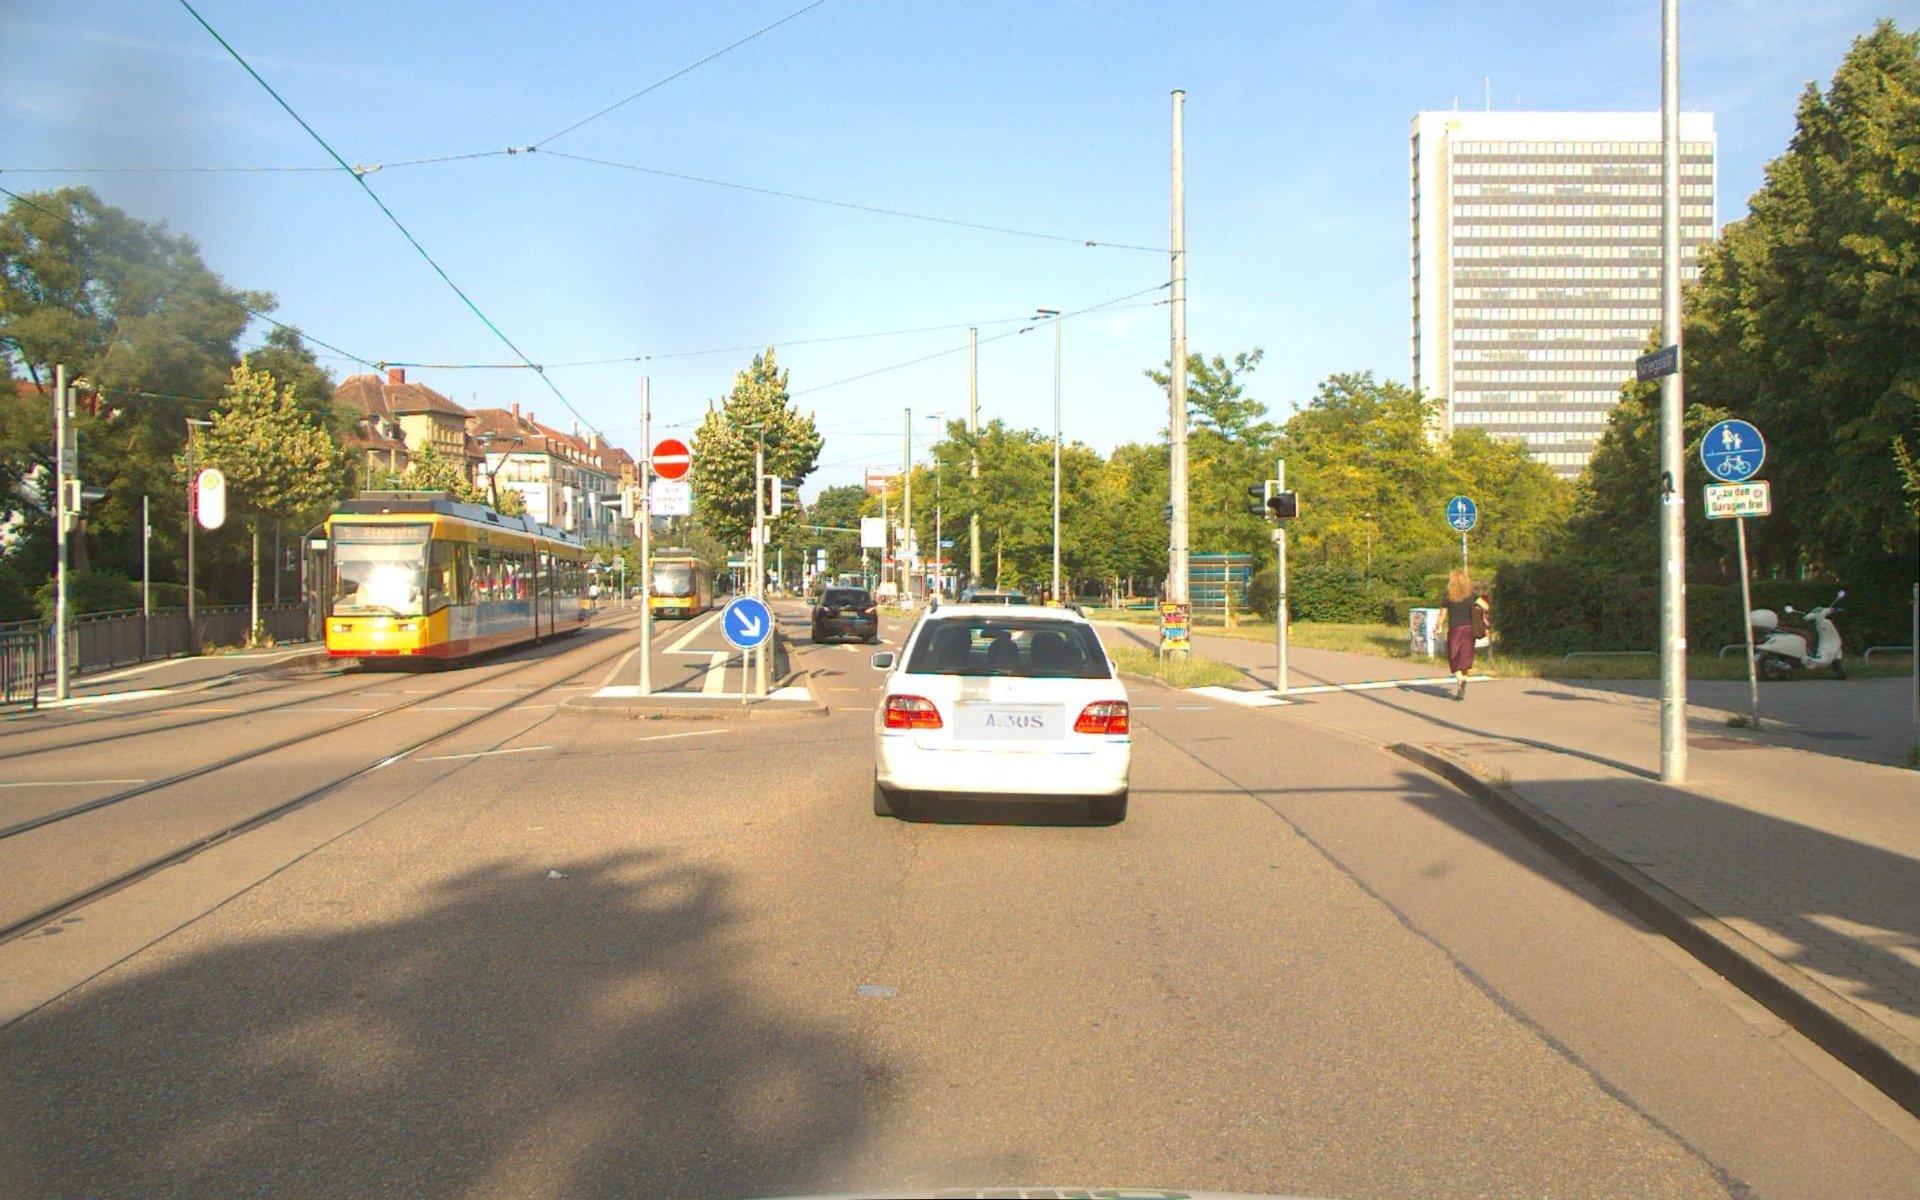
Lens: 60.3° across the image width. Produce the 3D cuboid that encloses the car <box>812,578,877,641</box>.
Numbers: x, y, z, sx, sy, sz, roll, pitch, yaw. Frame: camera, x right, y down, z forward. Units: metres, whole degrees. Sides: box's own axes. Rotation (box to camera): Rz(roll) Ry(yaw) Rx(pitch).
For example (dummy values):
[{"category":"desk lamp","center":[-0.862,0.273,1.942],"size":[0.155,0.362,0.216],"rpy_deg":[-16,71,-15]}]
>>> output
[{"category":"car","center":[-3.289,0.246,47.634],"size":[1.751,1.719,3.998],"rpy_deg":[1,1,-3]}]

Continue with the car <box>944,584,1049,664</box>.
[{"category":"car","center":[0.737,0.475,36.154],"size":[1.992,1.633,3.998],"rpy_deg":[1,1,-3]}]

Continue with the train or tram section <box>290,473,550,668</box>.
[{"category":"train or tram section","center":[-11.684,-0.631,37.573],"size":[3.102,3.540,14.506],"rpy_deg":[1,1,-8]}]

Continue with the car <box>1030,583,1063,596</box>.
[{"category":"car","center":[11.402,-1.332,217.578],"size":[3.952,1.680,1.976],"rpy_deg":[-1,0,-34]}]

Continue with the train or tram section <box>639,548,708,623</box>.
[{"category":"train or tram section","center":[-14.680,-0.783,85.531],"size":[2.795,3.540,13.180],"rpy_deg":[1,1,-7]}]

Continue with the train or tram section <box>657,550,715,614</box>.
[{"category":"train or tram section","center":[-16.192,-1.099,98.406],"size":[2.795,3.540,13.180],"rpy_deg":[1,1,-7]}]

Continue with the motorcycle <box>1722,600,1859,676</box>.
[{"category":"motorcycle","center":[13.293,0.606,26.471],"size":[1.961,1.180,0.706],"rpy_deg":[0,0,-13]}]

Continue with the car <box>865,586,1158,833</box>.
[{"category":"car","center":[0.214,0.682,12.331],"size":[1.724,1.530,3.996],"rpy_deg":[0,0,-5]}]

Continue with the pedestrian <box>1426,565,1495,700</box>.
[{"category":"pedestrian","center":[6.667,0.426,22.051],"size":[0.603,1.721,0.548],"rpy_deg":[-5,1,-3]}]

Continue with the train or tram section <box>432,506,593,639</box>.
[{"category":"train or tram section","center":[-13.677,-0.836,51.895],"size":[3.102,3.540,14.446],"rpy_deg":[1,1,-8]}]
